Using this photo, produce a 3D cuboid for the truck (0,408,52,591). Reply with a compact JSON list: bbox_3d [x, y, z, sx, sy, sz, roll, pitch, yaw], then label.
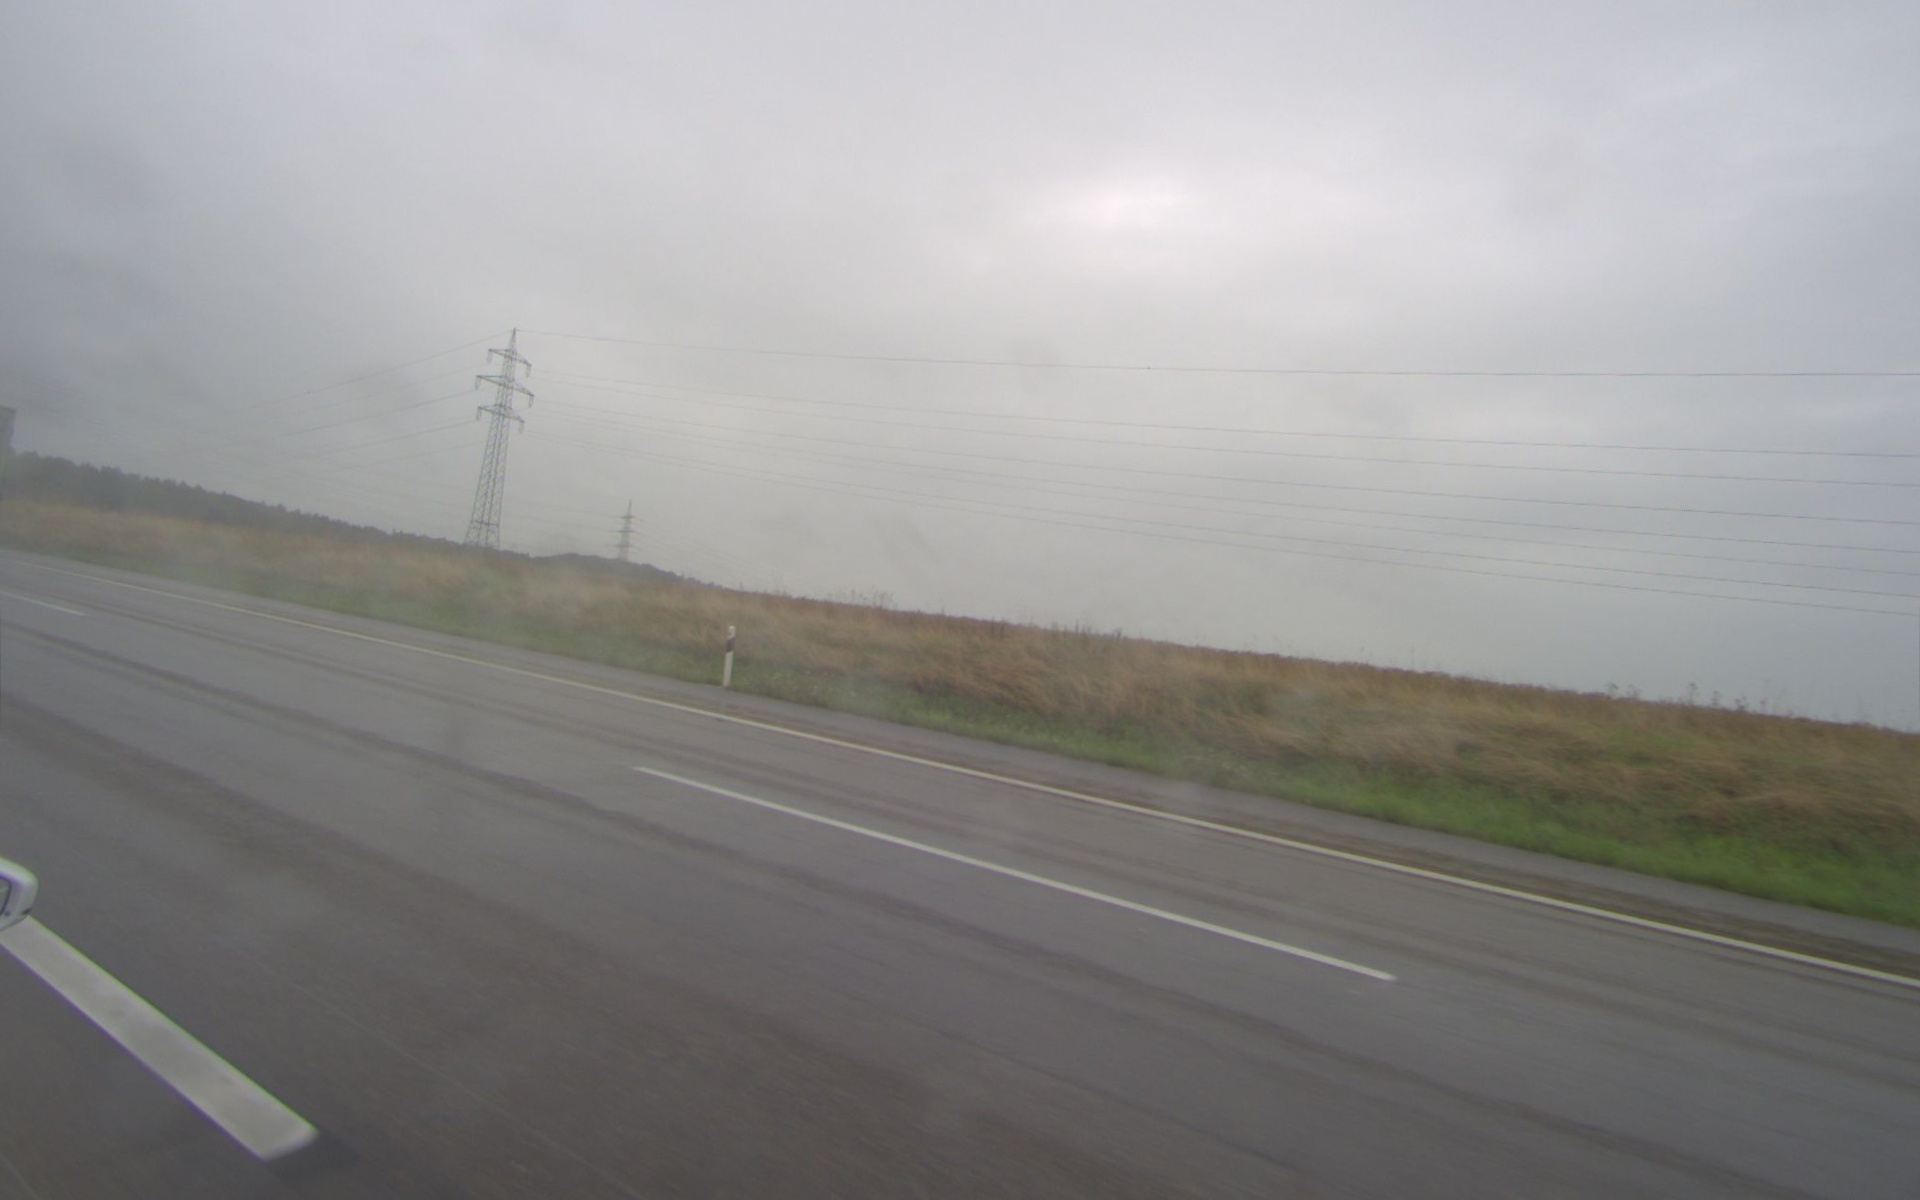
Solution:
[{"bbox_3d":[-32.406,-3.561,29.699,15.846,4.683,4.195,7,-2,34],"label":"truck"}]
